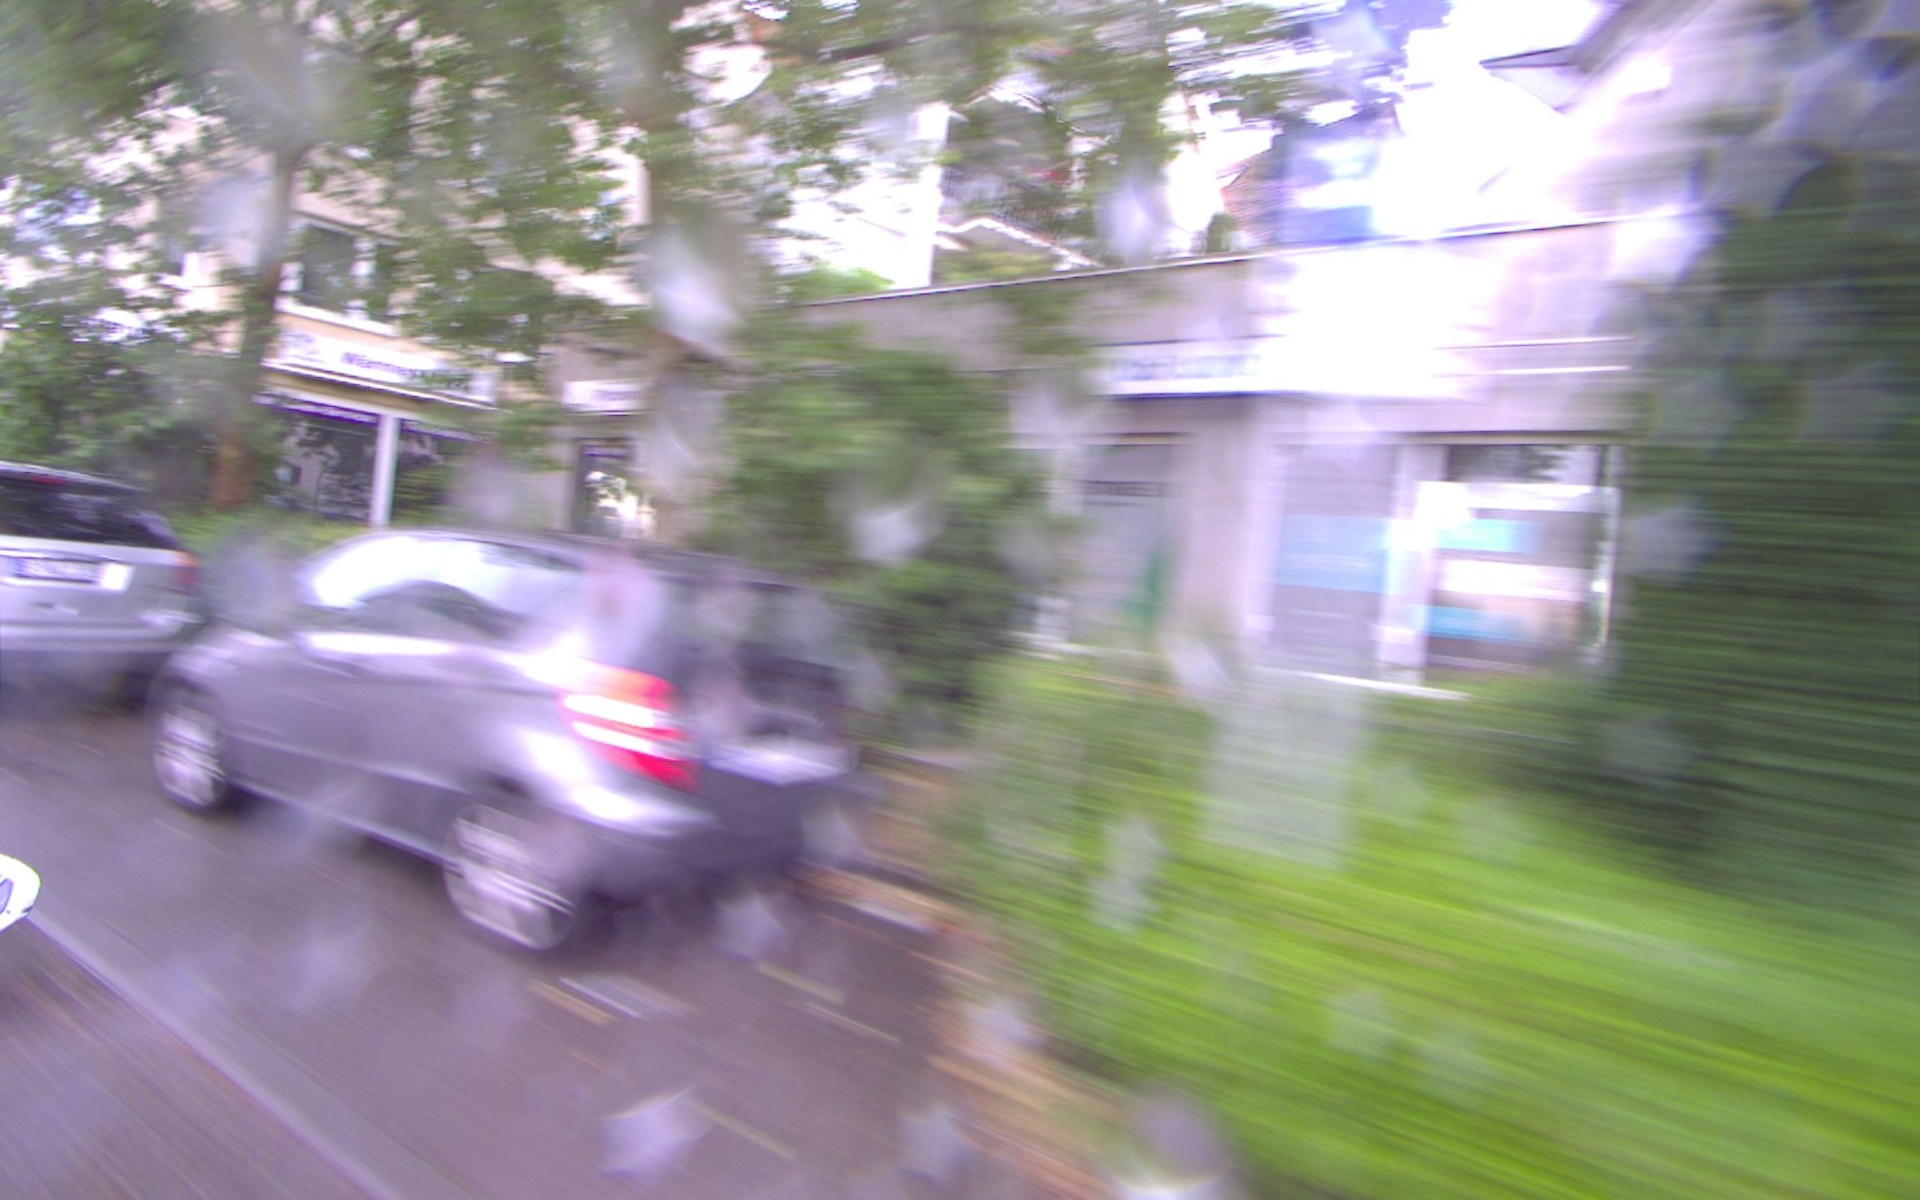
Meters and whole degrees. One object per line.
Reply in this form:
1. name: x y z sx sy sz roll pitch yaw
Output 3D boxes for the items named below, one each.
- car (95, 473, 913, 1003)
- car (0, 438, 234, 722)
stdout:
1. car: -2.381 0.384 5.030 3.848 1.593 1.712 7 1 30
2. car: -7.850 -0.344 7.874 4.657 1.803 1.931 7 1 34
